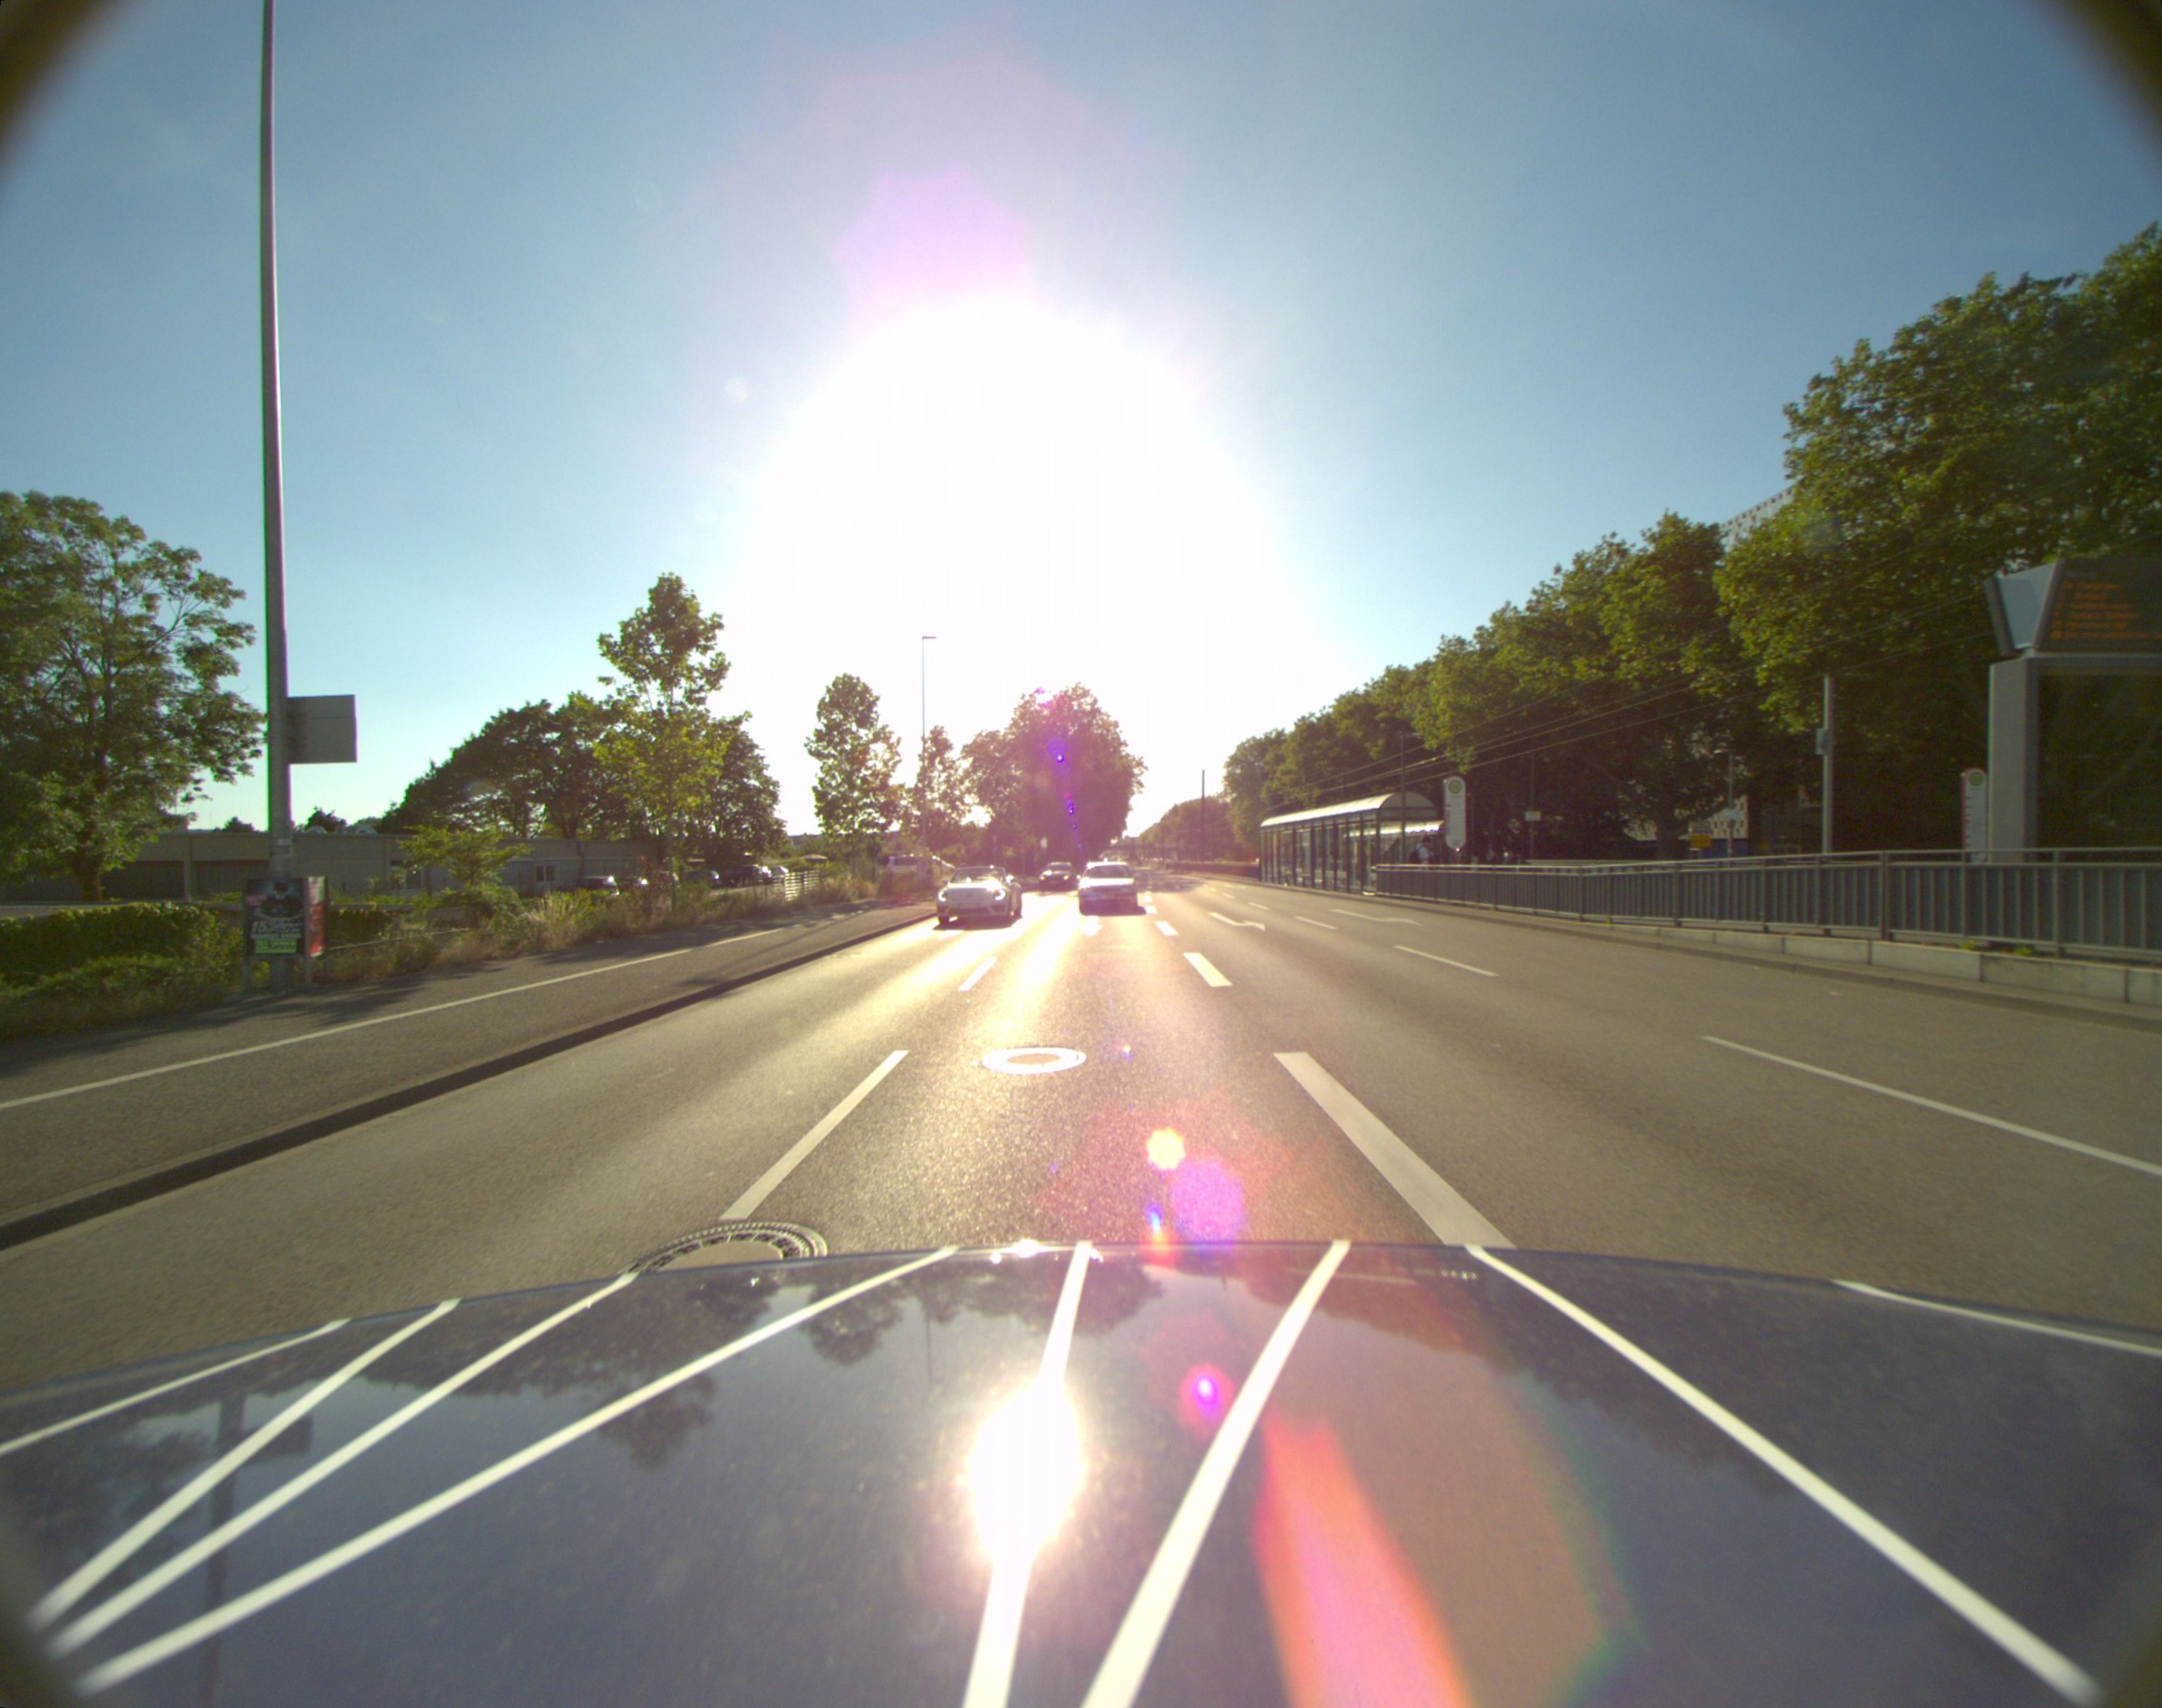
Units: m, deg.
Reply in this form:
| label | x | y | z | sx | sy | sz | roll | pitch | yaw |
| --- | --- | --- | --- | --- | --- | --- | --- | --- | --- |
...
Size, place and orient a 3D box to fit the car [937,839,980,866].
| label | x | y | z | sx | sy | sz | roll | pitch | yaw |
| --- | --- | --- | --- | --- | --- | --- | --- | --- | --- |
| car | -12.503 | -0.157 | 77.876 | 2.939 | 2.606 | 5.925 | -1 | 0 | 5 |

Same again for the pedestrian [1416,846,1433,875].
| label | x | y | z | sx | sy | sz | roll | pitch | yaw |
| --- | --- | --- | --- | --- | --- | --- | --- | --- | --- |
| pedestrian | 20.493 | 0.382 | 45.341 | 0.654 | 1.732 | 0.685 | -3 | 0 | 2 |

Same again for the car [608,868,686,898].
| label | x | y | z | sx | sy | sz | roll | pitch | yaw |
| --- | --- | --- | --- | --- | --- | --- | --- | --- | --- |
| car | -28.049 | 1.855 | 49.171 | 3.919 | 1.656 | 1.706 | -3 | 1 | -1 |

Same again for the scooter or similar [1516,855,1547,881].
| label | x | y | z | sx | sy | sz | roll | pitch | yaw |
| --- | --- | --- | --- | --- | --- | --- | --- | --- | --- |
| scooter or similar | 21.406 | 0.659 | 36.126 | 0.665 | 1.227 | 1.372 | -1 | 0 | 1 |

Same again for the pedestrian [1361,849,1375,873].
| label | x | y | z | sx | sy | sz | roll | pitch | yaw |
| --- | --- | --- | --- | --- | --- | --- | --- | --- | --- |
| pedestrian | 21.185 | 0.515 | 56.016 | 0.763 | 1.700 | 0.678 | -1 | 0 | 2 |

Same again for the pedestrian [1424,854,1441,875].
| label | x | y | z | sx | sy | sz | roll | pitch | yaw |
| --- | --- | --- | --- | --- | --- | --- | --- | --- | --- |
| pedestrian | 21.294 | 0.646 | 46.008 | 0.654 | 1.245 | 0.685 | -3 | 0 | -1 |

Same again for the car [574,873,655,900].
| label | x | y | z | sx | sy | sz | roll | pitch | yaw |
| --- | --- | --- | --- | --- | --- | --- | --- | --- | --- |
| car | -28.386 | 1.963 | 46.316 | 3.793 | 1.389 | 1.738 | -2 | 3 | -3 |

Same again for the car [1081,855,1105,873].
| label | x | y | z | sx | sy | sz | roll | pitch | yaw |
| --- | --- | --- | --- | --- | --- | --- | --- | --- | --- |
| car | 1.068 | 0.830 | 64.294 | 1.871 | 1.422 | 3.832 | -3 | 0 | 3 |

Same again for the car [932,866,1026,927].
| label | x | y | z | sx | sy | sz | roll | pitch | yaw |
| --- | --- | --- | --- | --- | --- | --- | --- | --- | --- |
| car | -2.604 | 1.051 | 20.320 | 1.856 | 1.415 | 3.981 | -1 | 0 | 2 |

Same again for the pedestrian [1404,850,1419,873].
| label | x | y | z | sx | sy | sz | roll | pitch | yaw |
| --- | --- | --- | --- | --- | --- | --- | --- | --- | --- |
| pedestrian | 21.581 | 0.476 | 49.682 | 0.671 | 1.483 | 0.576 | -1 | 0 | -11 |

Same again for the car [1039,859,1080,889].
| label | x | y | z | sx | sy | sz | roll | pitch | yaw |
| --- | --- | --- | --- | --- | --- | --- | --- | --- | --- |
| car | -1.097 | 1.038 | 40.660 | 1.740 | 1.502 | 4.001 | -2 | 0 | 4 |

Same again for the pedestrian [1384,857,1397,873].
| label | x | y | z | sx | sy | sz | roll | pitch | yaw |
| --- | --- | --- | --- | --- | --- | --- | --- | --- | --- |
| pedestrian | 21.859 | 0.779 | 53.708 | 0.679 | 1.155 | 0.624 | -1 | 0 | -1 |

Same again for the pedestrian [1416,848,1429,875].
| label | x | y | z | sx | sy | sz | roll | pitch | yaw |
| --- | --- | --- | --- | --- | --- | --- | --- | --- | --- |
| pedestrian | 21.050 | 0.464 | 46.836 | 0.576 | 1.626 | 0.644 | -1 | 0 | 10 |

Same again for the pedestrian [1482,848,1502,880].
| label | x | y | z | sx | sy | sz | roll | pitch | yaw |
| --- | --- | --- | --- | --- | --- | --- | --- | --- | --- |
| pedestrian | 21.523 | 0.519 | 39.794 | 0.652 | 1.610 | 0.635 | -2 | 0 | 5 |

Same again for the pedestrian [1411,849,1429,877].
| label | x | y | z | sx | sy | sz | roll | pitch | yaw |
| --- | --- | --- | --- | --- | --- | --- | --- | --- | --- |
| pedestrian | 19.911 | 0.517 | 44.654 | 0.661 | 1.623 | 0.777 | -2 | 0 | 3 |

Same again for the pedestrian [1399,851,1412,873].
| label | x | y | z | sx | sy | sz | roll | pitch | yaw |
| --- | --- | --- | --- | --- | --- | --- | --- | --- | --- |
| pedestrian | 21.493 | 0.533 | 50.339 | 0.616 | 1.459 | 0.544 | -1 | 0 | -7 |

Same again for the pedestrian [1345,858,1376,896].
| label | x | y | z | sx | sy | sz | roll | pitch | yaw |
| --- | --- | --- | --- | --- | --- | --- | --- | --- | --- |
| pedestrian | 9.348 | 0.751 | 25.469 | 0.682 | 1.224 | 0.878 | -3 | 0 | 2 |

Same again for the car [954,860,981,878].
| label | x | y | z | sx | sy | sz | roll | pitch | yaw |
| --- | --- | --- | --- | --- | --- | --- | --- | --- | --- |
| car | -10.648 | 1.400 | 71.761 | 1.999 | 1.637 | 4.156 | -1 | 0 | -2 |

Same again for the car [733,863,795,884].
| label | x | y | z | sx | sy | sz | roll | pitch | yaw |
| --- | --- | --- | --- | --- | --- | --- | --- | --- | --- |
| car | -28.087 | 1.719 | 67.496 | 4.661 | 1.560 | 1.859 | -3 | 0 | -1 |

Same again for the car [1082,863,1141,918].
| label | x | y | z | sx | sy | sz | roll | pitch | yaw |
| --- | --- | --- | --- | --- | --- | --- | --- | --- | --- |
| car | 0.858 | 1.037 | 23.121 | 1.602 | 1.440 | 3.799 | -2 | 0 | 0 |

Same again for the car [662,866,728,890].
| label | x | y | z | sx | sy | sz | roll | pitch | yaw |
| --- | --- | --- | --- | --- | --- | --- | --- | --- | --- |
| car | -29.036 | 1.769 | 57.290 | 4.030 | 1.577 | 1.685 | -3 | 0 | -2 |

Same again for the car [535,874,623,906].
| label | x | y | z | sx | sy | sz | roll | pitch | yaw |
| --- | --- | --- | --- | --- | --- | --- | --- | --- | --- |
| car | -28.618 | 2.026 | 43.396 | 3.793 | 1.548 | 1.727 | -2 | 3 | -3 |

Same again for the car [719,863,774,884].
| label | x | y | z | sx | sy | sz | roll | pitch | yaw |
| --- | --- | --- | --- | --- | --- | --- | --- | --- | --- |
| car | -28.320 | 1.658 | 64.434 | 3.838 | 1.577 | 1.723 | -3 | 0 | 0 |

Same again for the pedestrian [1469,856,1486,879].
| label | x | y | z | sx | sy | sz | roll | pitch | yaw |
| --- | --- | --- | --- | --- | --- | --- | --- | --- | --- |
| pedestrian | 21.362 | 0.723 | 40.940 | 0.603 | 1.217 | 0.617 | -2 | 0 | 5 |

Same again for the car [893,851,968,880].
| label | x | y | z | sx | sy | sz | roll | pitch | yaw |
| --- | --- | --- | --- | --- | --- | --- | --- | --- | --- |
| car | -11.697 | 0.888 | 59.257 | 5.350 | 2.010 | 2.104 | -3 | 0 | -1 |

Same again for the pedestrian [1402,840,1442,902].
| label | x | y | z | sx | sy | sz | roll | pitch | yaw |
| --- | --- | --- | --- | --- | --- | --- | --- | --- | --- |
| pedestrian | 9.621 | 0.465 | 21.474 | 0.695 | 1.705 | 0.822 | -2 | 0 | -3 |

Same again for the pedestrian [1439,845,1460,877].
| label | x | y | z | sx | sy | sz | roll | pitch | yaw |
| --- | --- | --- | --- | --- | --- | --- | --- | --- | --- |
| pedestrian | 21.131 | 0.393 | 43.575 | 0.734 | 1.809 | 0.687 | -3 | 0 | -6 |

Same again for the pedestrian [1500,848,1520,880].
| label | x | y | z | sx | sy | sz | roll | pitch | yaw |
| --- | --- | --- | --- | --- | --- | --- | --- | --- | --- |
| pedestrian | 21.587 | 0.496 | 38.226 | 0.603 | 1.610 | 0.691 | -2 | 0 | 5 |

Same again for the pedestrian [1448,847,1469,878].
| label | x | y | z | sx | sy | sz | roll | pitch | yaw |
| --- | --- | --- | --- | --- | --- | --- | --- | --- | --- |
| pedestrian | 21.289 | 0.472 | 42.833 | 0.734 | 1.682 | 0.687 | -3 | 0 | -9 |

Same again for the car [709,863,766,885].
| label | x | y | z | sx | sy | sz | roll | pitch | yaw |
| --- | --- | --- | --- | --- | --- | --- | --- | --- | --- |
| car | -28.111 | 1.630 | 62.295 | 3.873 | 1.631 | 1.664 | -3 | 0 | 0 |

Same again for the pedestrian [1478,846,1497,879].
| label | x | y | z | sx | sy | sz | roll | pitch | yaw |
| --- | --- | --- | --- | --- | --- | --- | --- | --- | --- |
| pedestrian | 21.544 | 0.468 | 40.293 | 0.652 | 1.709 | 0.635 | -2 | 0 | 5 |
